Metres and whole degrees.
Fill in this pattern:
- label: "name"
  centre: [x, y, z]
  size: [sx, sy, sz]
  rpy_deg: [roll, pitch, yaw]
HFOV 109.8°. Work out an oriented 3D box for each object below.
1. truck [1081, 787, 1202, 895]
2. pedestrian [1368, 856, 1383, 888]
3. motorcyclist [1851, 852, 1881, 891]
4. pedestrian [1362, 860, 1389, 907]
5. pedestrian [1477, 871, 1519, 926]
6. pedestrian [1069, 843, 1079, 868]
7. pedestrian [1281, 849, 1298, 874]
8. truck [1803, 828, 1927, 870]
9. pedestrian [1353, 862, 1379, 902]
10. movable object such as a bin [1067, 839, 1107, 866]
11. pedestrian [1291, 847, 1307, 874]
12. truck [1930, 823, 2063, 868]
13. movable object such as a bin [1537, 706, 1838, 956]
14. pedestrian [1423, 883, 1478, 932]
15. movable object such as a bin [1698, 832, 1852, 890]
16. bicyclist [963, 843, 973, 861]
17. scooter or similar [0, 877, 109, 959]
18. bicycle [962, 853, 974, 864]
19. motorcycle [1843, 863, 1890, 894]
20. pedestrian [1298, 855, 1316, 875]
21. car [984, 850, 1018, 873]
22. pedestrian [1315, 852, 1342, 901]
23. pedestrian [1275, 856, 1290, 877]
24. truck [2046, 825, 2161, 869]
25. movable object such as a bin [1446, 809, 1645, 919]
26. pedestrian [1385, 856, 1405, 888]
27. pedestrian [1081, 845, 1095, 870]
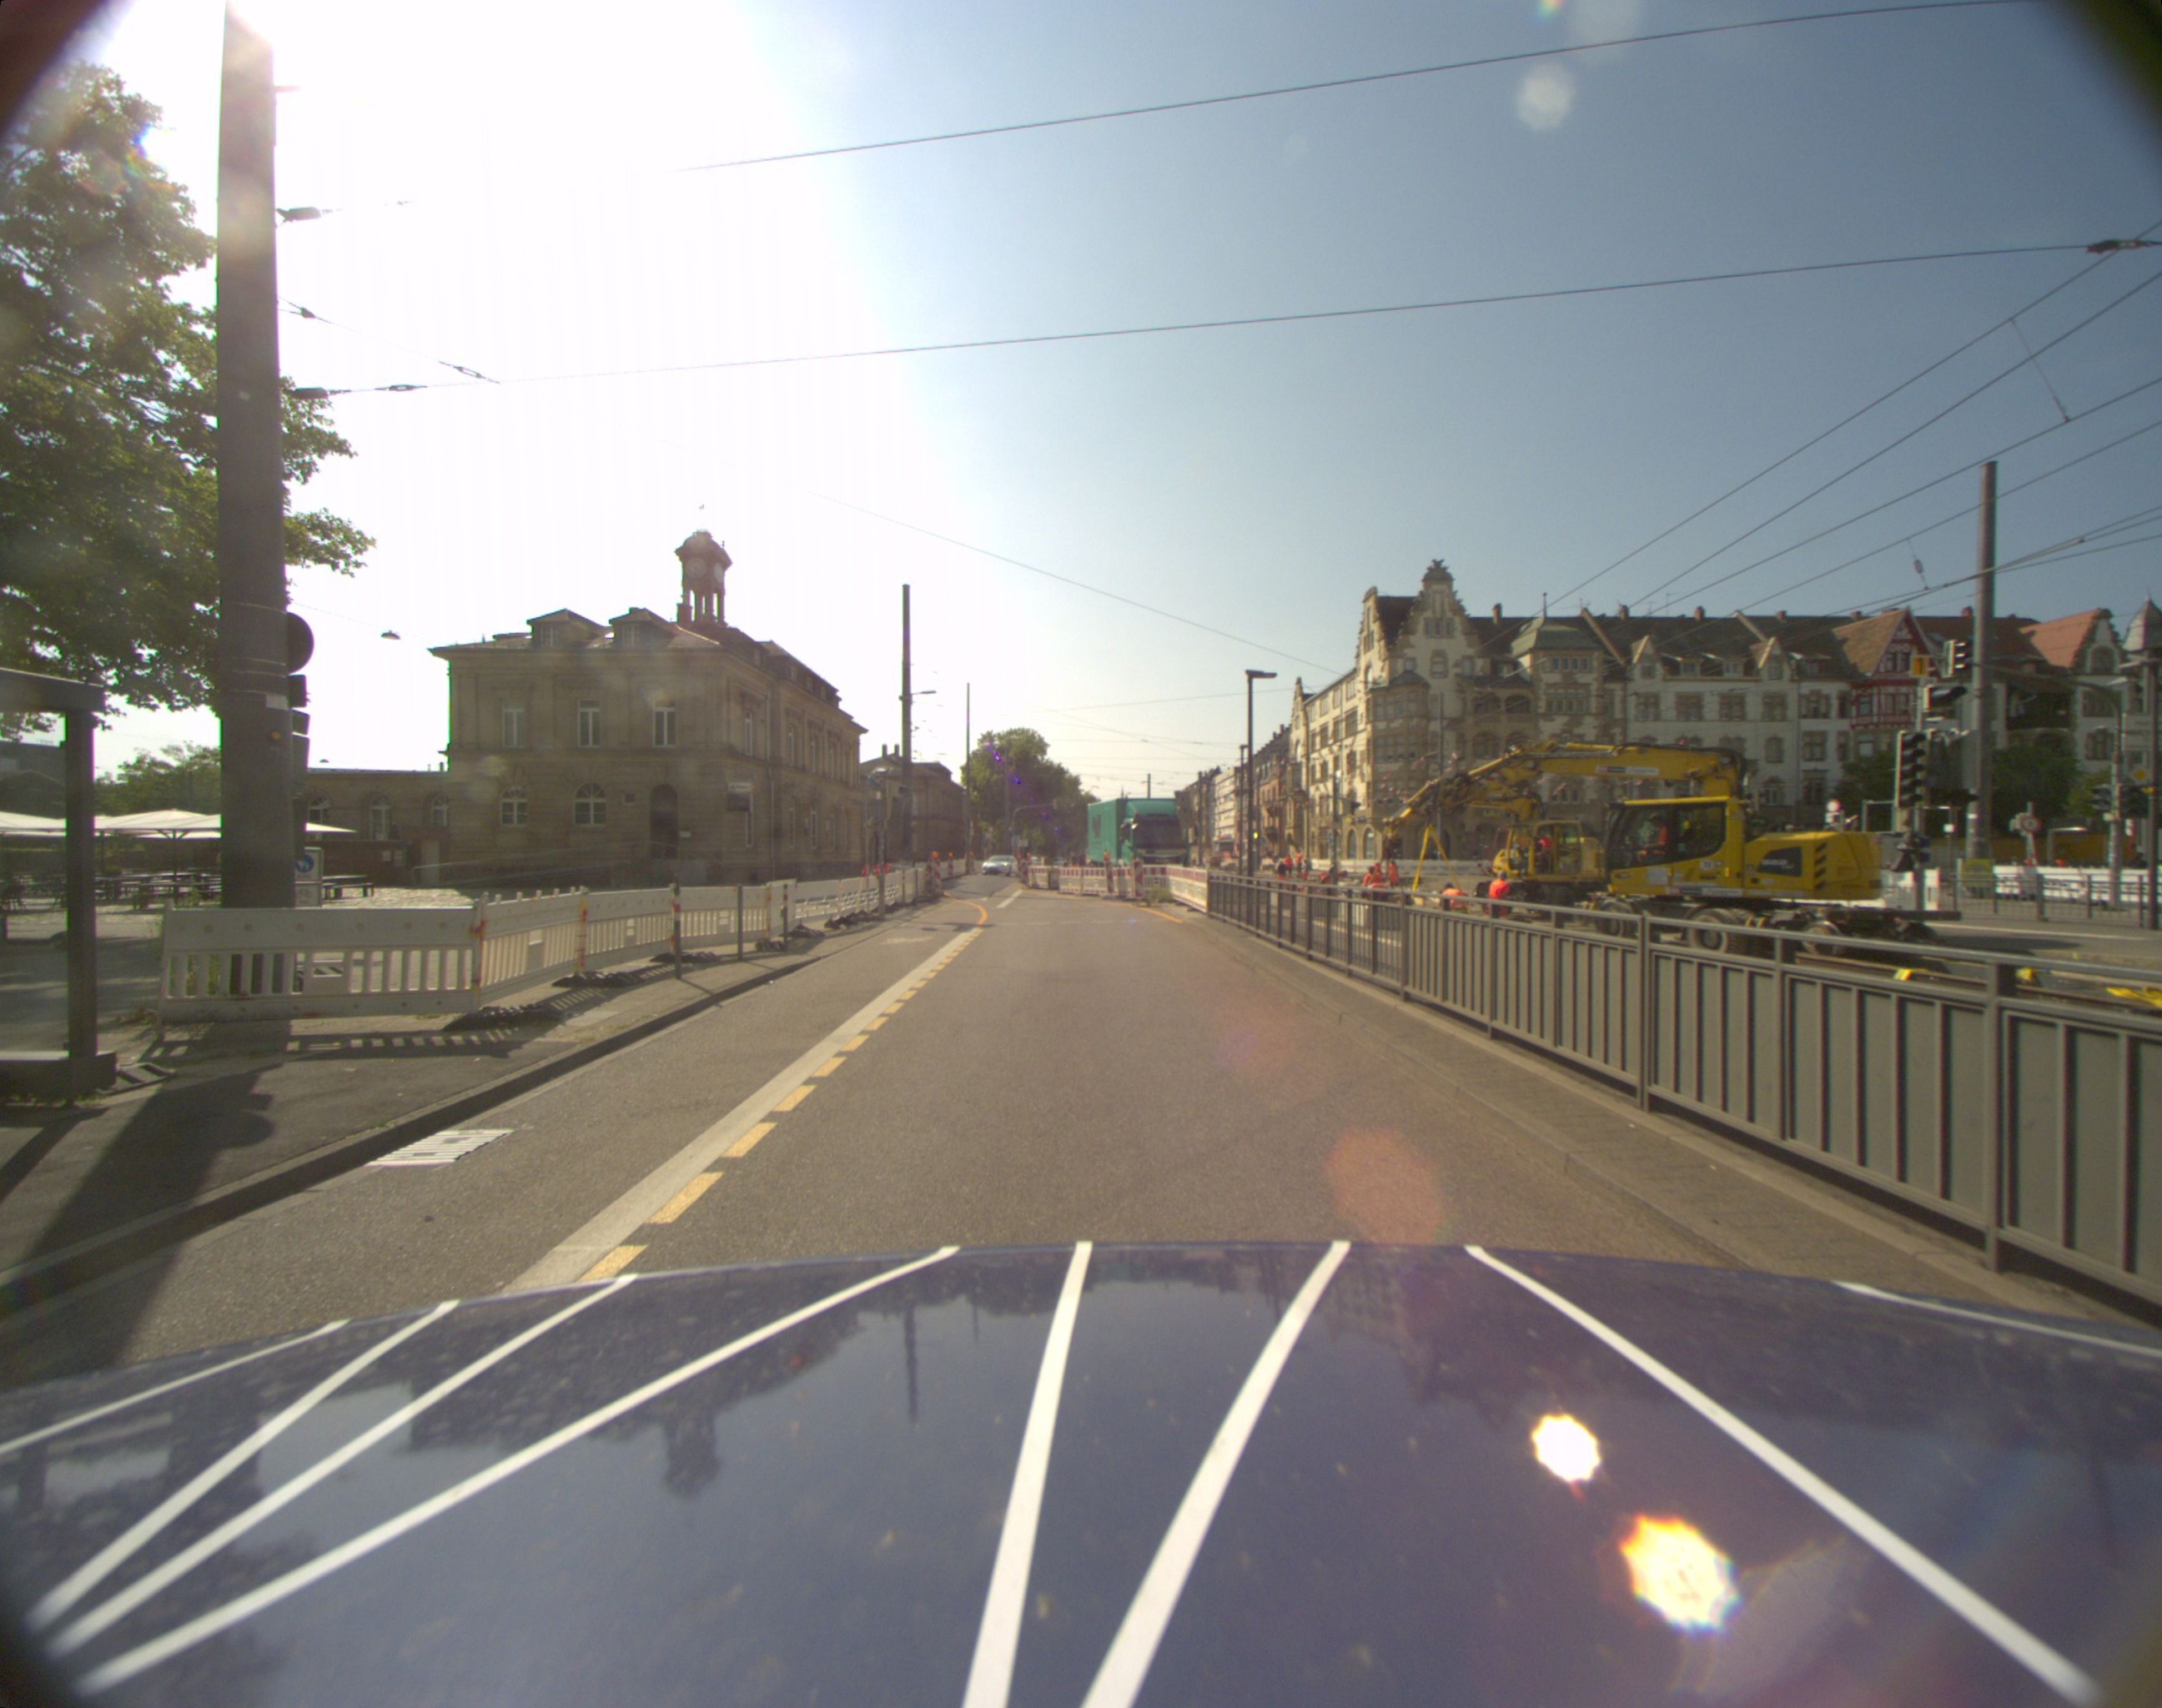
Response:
- label: "truck"
  centre: [2.148, -0.452, 31.314]
  size: [2.817, 3.766, 9.007]
  rpy_deg: [1, 0, -9]
- label: "pedestrian"
  centre: [16.096, 0.970, 41.498]
  size: [0.739, 1.692, 0.760]
  rpy_deg: [1, 1, 19]
- label: "motorcyclist"
  centre: [23.878, 0.522, 23.124]
  size: [0.429, 1.172, 0.517]
  rpy_deg: [4, 2, 27]
- label: "pedestrian"
  centre: [8.488, 0.831, 21.911]
  size: [0.701, 1.327, 0.838]
  rpy_deg: [0, 1, 21]
- label: "pedestrian"
  centre: [9.154, 0.963, 16.682]
  size: [0.701, 1.148, 0.589]
  rpy_deg: [1, 1, 40]
- label: "pedestrian"
  centre: [-0.510, 0.108, 55.091]
  size: [0.720, 1.765, 0.465]
  rpy_deg: [0, 1, -5]
- label: "pedestrian"
  centre: [13.180, 0.477, 48.093]
  size: [0.755, 1.547, 0.735]
  rpy_deg: [0, 1, -42]
- label: "truck"
  centre: [54.664, -0.335, 53.076]
  size: [6.037, 2.799, 2.691]
  rpy_deg: [0, 0, -2]
- label: "pedestrian"
  centre: [8.582, 0.823, 22.890]
  size: [0.701, 1.171, 0.703]
  rpy_deg: [0, 1, 21]
- label: "movable object such as a bin"
  centre: [0.541, -0.165, 74.439]
  size: [3.174, 2.395, 2.914]
  rpy_deg: [3, 2, -16]
- label: "pedestrian"
  centre: [13.535, 0.389, 47.145]
  size: [0.752, 1.692, 0.678]
  rpy_deg: [0, 1, -1]
- label: "truck"
  centre: [63.818, -0.590, 53.040]
  size: [6.353, 3.026, 2.630]
  rpy_deg: [0, 1, -3]
- label: "movable object such as a bin"
  centre: [12.267, -0.411, 15.913]
  size: [2.994, 4.528, 4.212]
  rpy_deg: [0, 0, 2]
- label: "pedestrian"
  centre: [7.612, 1.084, 15.694]
  size: [0.702, 0.949, 0.882]
  rpy_deg: [0, 0, 1]
- label: "movable object such as a bin"
  centre: [35.283, 0.311, 38.785]
  size: [5.515, 2.774, 2.490]
  rpy_deg: [-1, 2, 1]
- label: "bicyclist"
  centre: [-10.250, -0.168, 69.096]
  size: [0.736, 1.616, 0.853]
  rpy_deg: [0, 1, 1]
- label: "scooter or similar"
  centre: [-16.041, 0.965, 11.732]
  size: [0.409, 1.159, 1.226]
  rpy_deg: [0, 1, 5]
- label: "bicycle"
  centre: [-10.249, 0.399, 69.165]
  size: [0.743, 1.026, 2.132]
  rpy_deg: [0, 0, 1]
- label: "motorcycle"
  centre: [23.901, 0.724, 23.139]
  size: [0.429, 0.873, 1.637]
  rpy_deg: [4, 2, 27]
- label: "pedestrian"
  centre: [14.304, 0.666, 48.013]
  size: [0.732, 1.177, 0.866]
  rpy_deg: [3, 2, -7]
- label: "car"
  centre: [-5.483, 0.487, 52.466]
  size: [1.844, 1.451, 4.000]
  rpy_deg: [1, 0, 1]
- label: "pedestrian"
  centre: [7.628, 0.681, 23.380]
  size: [0.741, 1.470, 0.704]
  rpy_deg: [0, 1, 22]
- label: "pedestrian"
  centre: [11.975, 0.714, 45.171]
  size: [0.678, 1.239, 0.547]
  rpy_deg: [0, 1, -2]
- label: "truck"
  centre: [72.941, -0.474, 53.919]
  size: [6.353, 3.026, 2.238]
  rpy_deg: [0, 1, -3]
- label: "movable object such as a bin"
  centre: [14.700, 0.297, 24.288]
  size: [4.128, 3.204, 3.563]
  rpy_deg: [0, 0, -15]
- label: "pedestrian"
  centre: [17.037, 0.971, 41.255]
  size: [0.741, 1.692, 0.758]
  rpy_deg: [0, 1, -1]
- label: "pedestrian"
  centre: [0.491, 0.250, 55.034]
  size: [0.921, 1.830, 0.801]
  rpy_deg: [0, 1, -6]
